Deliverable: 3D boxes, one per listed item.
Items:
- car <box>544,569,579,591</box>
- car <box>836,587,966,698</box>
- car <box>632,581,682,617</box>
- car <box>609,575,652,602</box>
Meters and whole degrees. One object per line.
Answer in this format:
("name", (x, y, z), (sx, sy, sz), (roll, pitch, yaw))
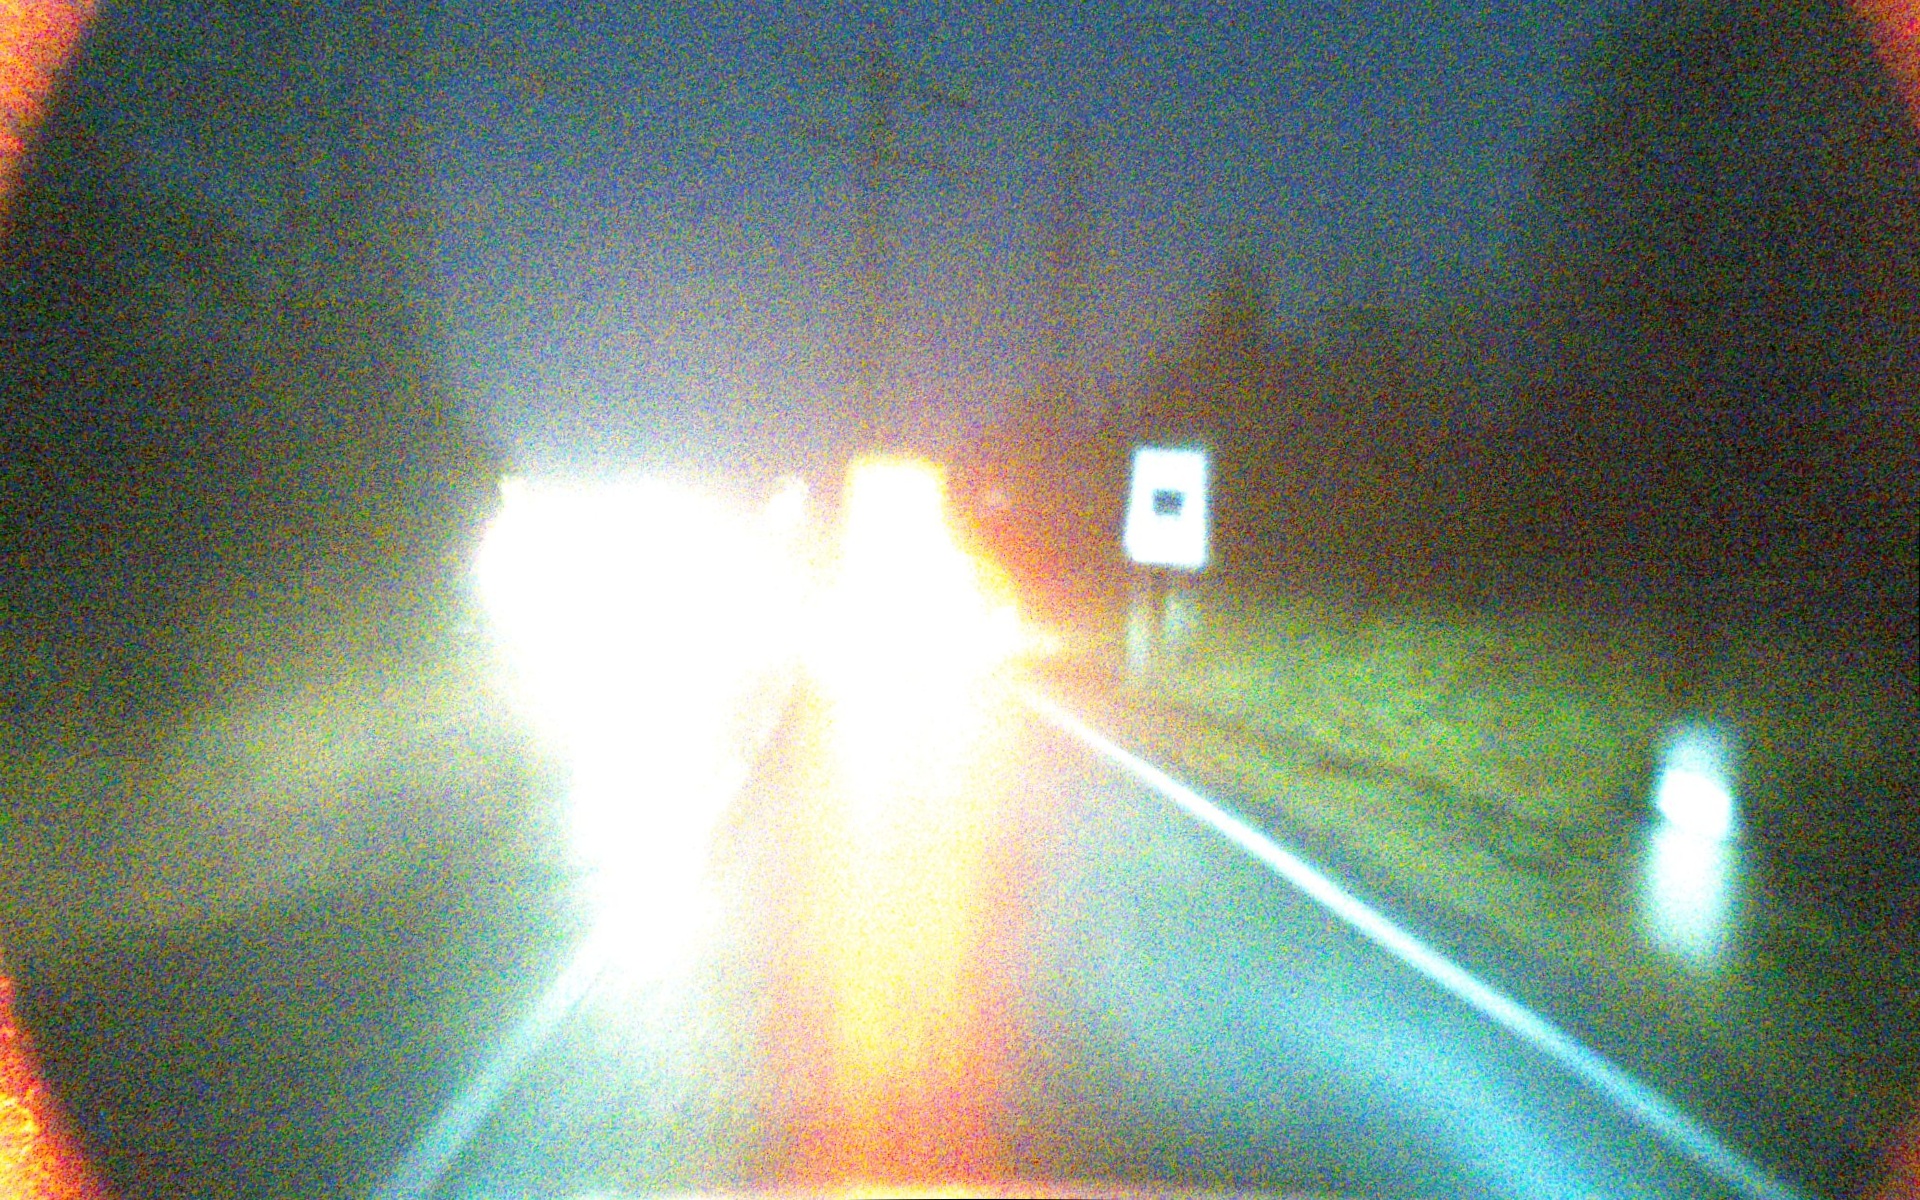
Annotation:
("car", (-26.268, -1.307, 108.940), (1.746, 1.413, 4.205), (1, 0, -21))
("car", (-1.026, 0.634, 27.838), (1.954, 1.656, 4.982), (1, 1, -3))
("car", (-13.412, -0.065, 73.073), (1.743, 1.509, 4.362), (1, 0, -16))
("car", (-17.454, -0.609, 87.511), (1.744, 1.413, 4.091), (1, 0, -18))
